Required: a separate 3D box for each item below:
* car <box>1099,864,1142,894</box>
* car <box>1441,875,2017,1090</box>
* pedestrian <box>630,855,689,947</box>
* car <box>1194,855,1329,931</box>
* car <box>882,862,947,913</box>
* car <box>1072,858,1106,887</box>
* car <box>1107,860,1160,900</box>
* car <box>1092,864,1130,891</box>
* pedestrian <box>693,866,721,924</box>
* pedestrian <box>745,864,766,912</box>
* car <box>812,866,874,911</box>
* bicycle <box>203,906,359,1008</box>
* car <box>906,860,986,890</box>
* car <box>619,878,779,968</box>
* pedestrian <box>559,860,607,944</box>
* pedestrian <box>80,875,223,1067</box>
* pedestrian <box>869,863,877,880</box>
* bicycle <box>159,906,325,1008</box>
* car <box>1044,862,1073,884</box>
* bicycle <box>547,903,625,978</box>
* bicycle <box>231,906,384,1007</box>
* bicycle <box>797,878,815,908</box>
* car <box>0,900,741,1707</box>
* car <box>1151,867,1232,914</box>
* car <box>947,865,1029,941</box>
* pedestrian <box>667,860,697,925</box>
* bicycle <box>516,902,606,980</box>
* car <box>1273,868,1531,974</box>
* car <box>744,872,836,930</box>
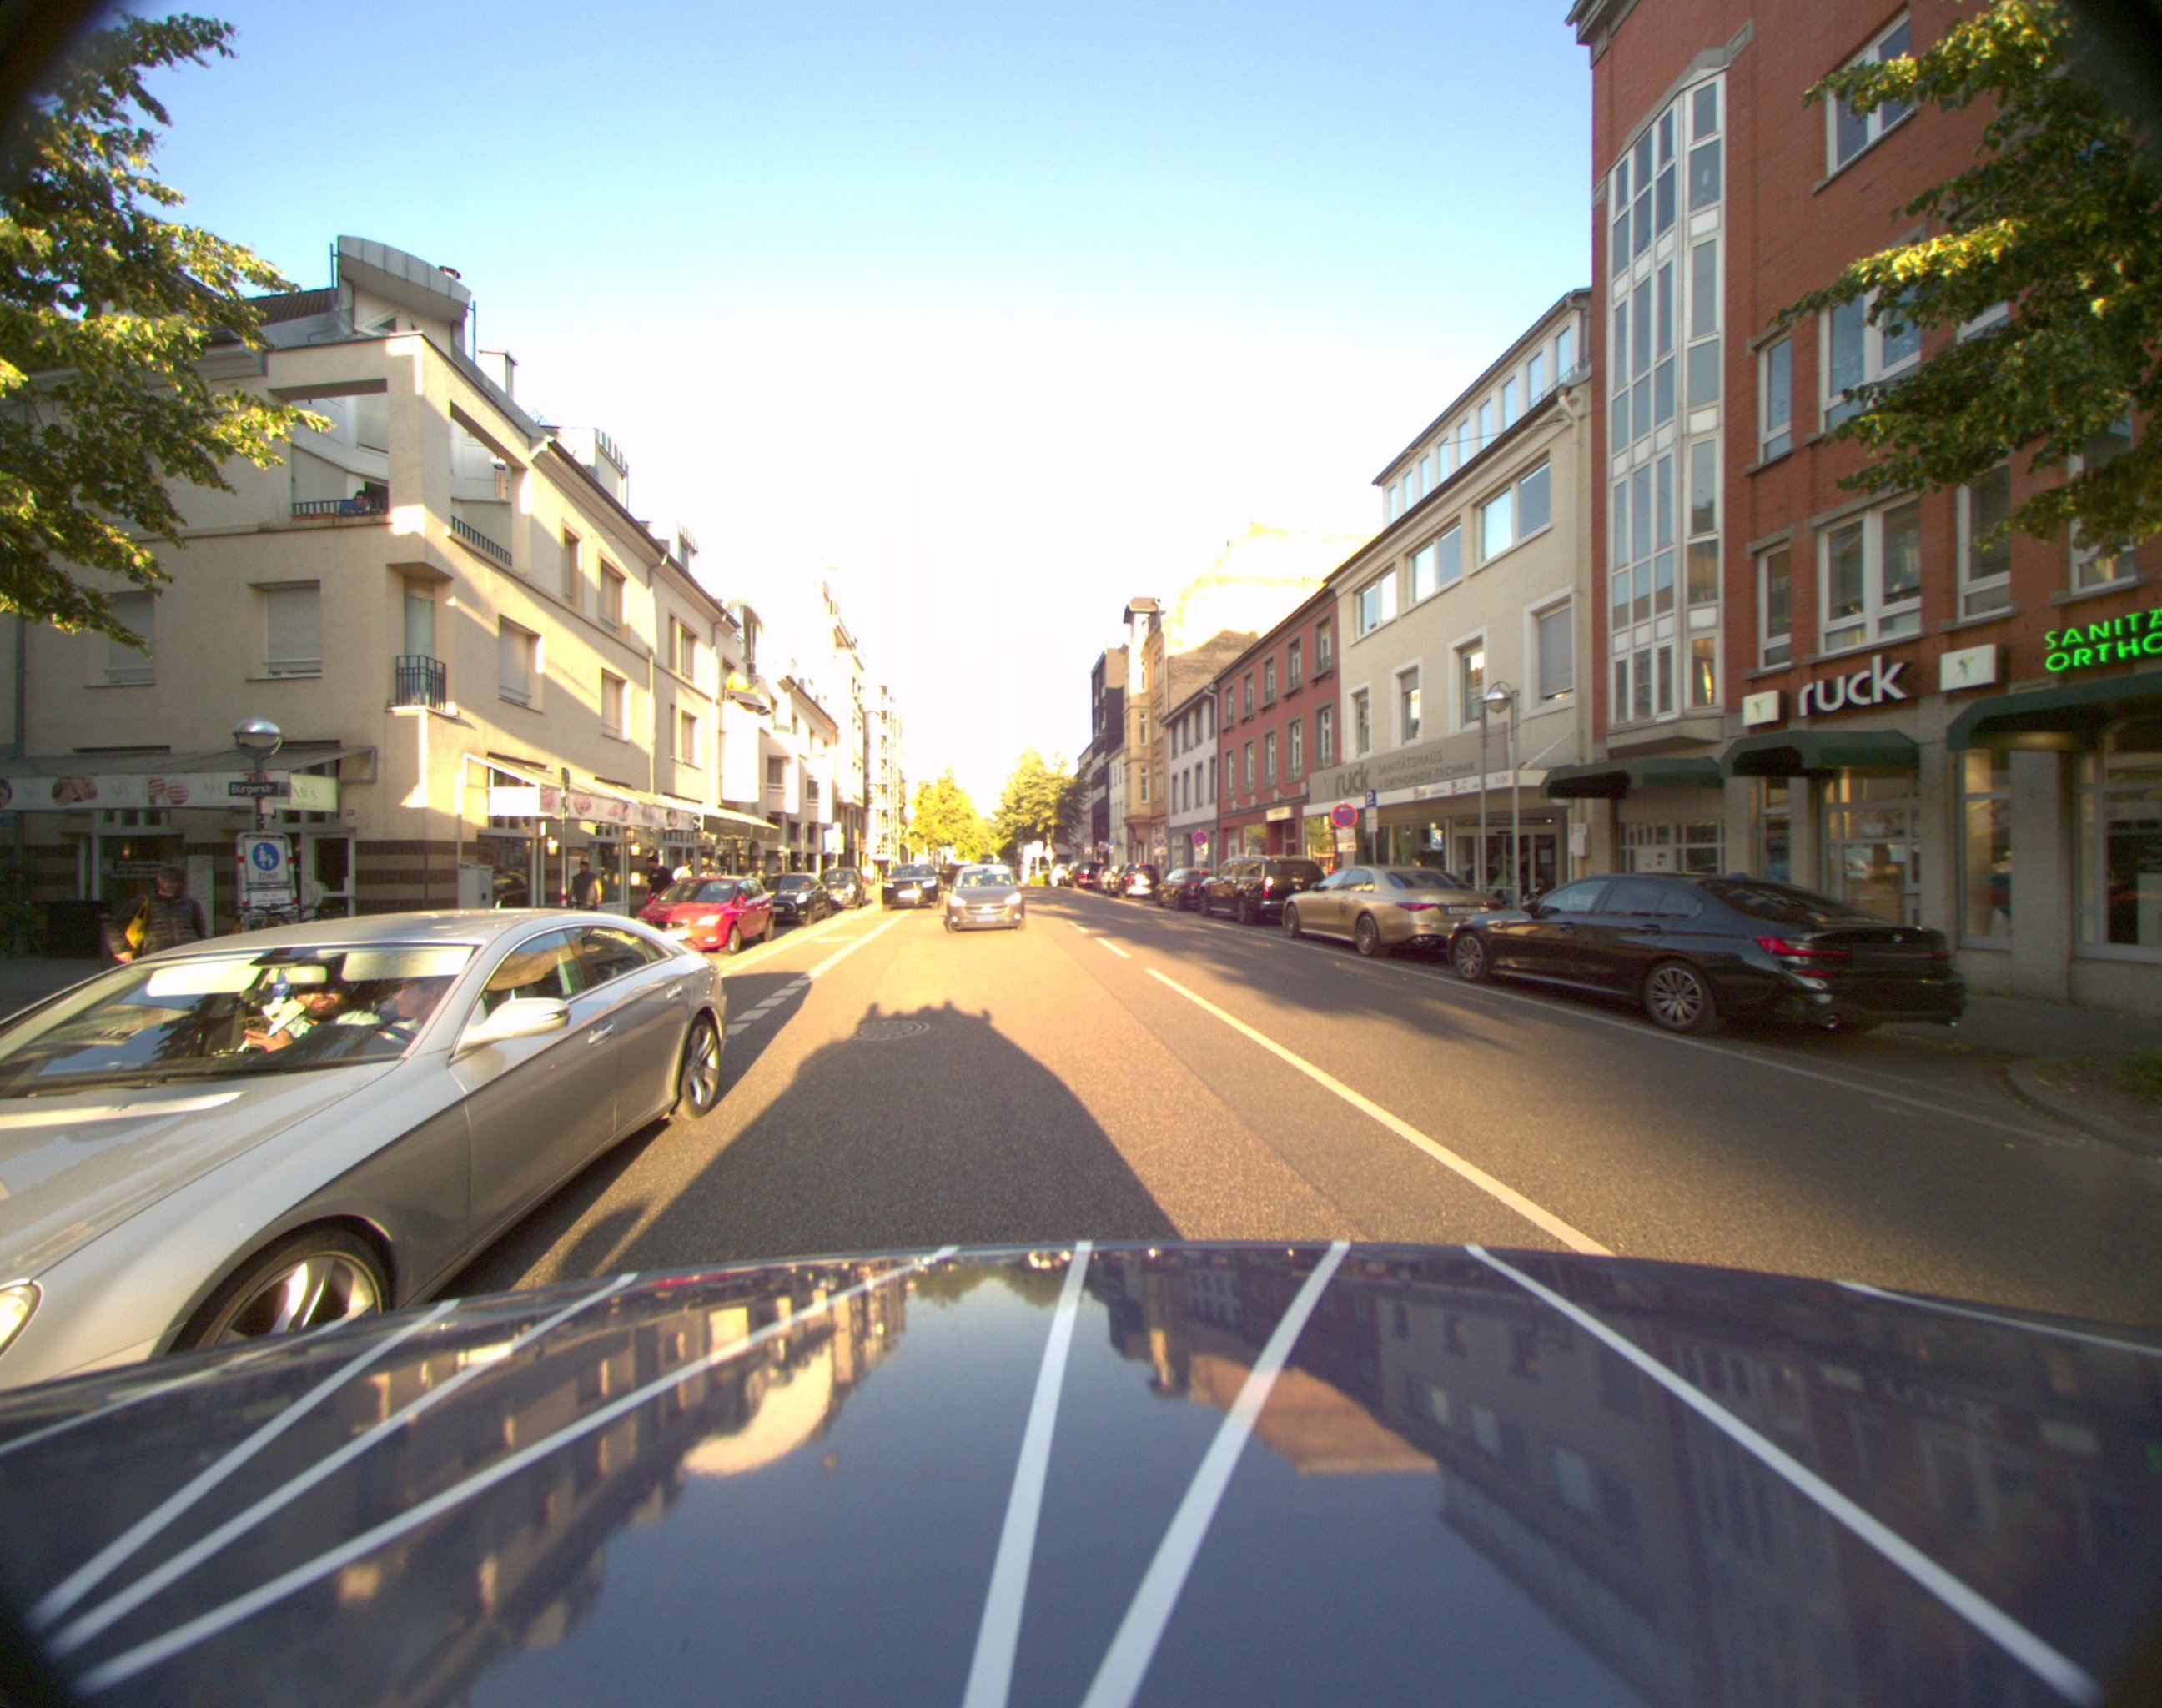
[{"bbox_3d":[2.032,1.293,40.100,1.690,1.461,3.689,2,-1,-6],"label":"car"},{"bbox_3d":[5.891,1.016,7.860,1.726,1.464,4.538,2,-1,-7],"label":"car"},{"bbox_3d":[-8.989,0.981,16.227,0.779,1.872,0.669,-4,1,-8],"label":"pedestrian"},{"bbox_3d":[4.634,0.954,20.314,1.726,1.768,4.935,1,-1,-9],"label":"car"},{"bbox_3d":[-5.944,1.134,27.515,1.891,1.626,4.224,-2,0,-8],"label":"car"},{"bbox_3d":[0.483,1.138,47.864,1.674,1.763,3.563,2,-1,-6],"label":"car"},{"bbox_3d":[2.362,1.142,35.002,1.726,1.673,4.047,2,-1,-6],"label":"car"},{"bbox_3d":[1.708,1.334,44.100,1.674,1.448,3.563,2,-1,-6],"label":"car"},{"bbox_3d":[-10.359,1.135,21.049,0.521,1.583,0.408,2,0,-8],"label":"pedestrian"},{"bbox_3d":[-12.441,1.290,29.050,0.576,1.789,0.450,-2,1,-7],"label":"pedestrian"},{"bbox_3d":[-9.066,1.268,29.194,1.622,1.583,3.923,-1,0,-8],"label":"car"},{"bbox_3d":[-10.603,1.312,10.161,0.291,1.098,1.886,-1,0,-7],"label":"bicycle"},{"bbox_3d":[-7.736,1.212,43.736,4.292,1.665,1.736,0,0,0],"label":"car"},{"bbox_3d":[-7.203,1.223,14.761,1.594,1.425,3.923,0,0,-8],"label":"car"},{"bbox_3d":[-10.669,1.009,16.291,0.631,1.739,0.669,0,0,-8],"label":"pedestrian"},{"bbox_3d":[-8.832,1.051,7.230,0.795,1.666,0.704,2,1,28],"label":"pedestrian"},{"bbox_3d":[-15.696,1.331,57.329,0.492,1.256,0.421,-2,1,-7],"label":"pedestrian"},{"bbox_3d":[-11.091,1.310,10.140,0.322,1.098,1.878,-1,0,-7],"label":"bicycle"},{"bbox_3d":[-1.663,1.343,54.883,1.674,1.512,3.562,1,0,-8],"label":"car"},{"bbox_3d":[-8.027,1.368,12.379,0.315,1.040,1.664,0,0,-5],"label":"bicycle"},{"bbox_3d":[-10.293,1.309,10.206,0.322,1.098,1.878,-1,0,-7],"label":"bicycle"},{"bbox_3d":[-10.632,1.510,29.391,0.296,1.079,1.462,-1,0,-7],"label":"bicycle"},{"bbox_3d":[-3.049,1.078,3.121,1.748,1.393,4.635,-2,1,-8],"label":"car"},{"bbox_3d":[3.760,1.206,26.522,1.707,1.429,4.011,2,-1,-8],"label":"car"},{"bbox_3d":[-2.178,1.043,17.628,1.623,1.465,3.686,-2,0,-8],"label":"car"},{"bbox_3d":[-10.958,1.052,20.881,0.545,1.748,0.502,2,0,-8],"label":"pedestrian"},{"bbox_3d":[-8.380,1.363,12.322,0.315,1.040,1.881,0,0,-5],"label":"bicycle"},{"bbox_3d":[5.321,1.027,13.554,2.000,1.463,5.104,1,-1,-6],"label":"car"},{"bbox_3d":[-8.198,1.274,21.738,1.622,1.425,3.923,0,0,-8],"label":"car"}]
